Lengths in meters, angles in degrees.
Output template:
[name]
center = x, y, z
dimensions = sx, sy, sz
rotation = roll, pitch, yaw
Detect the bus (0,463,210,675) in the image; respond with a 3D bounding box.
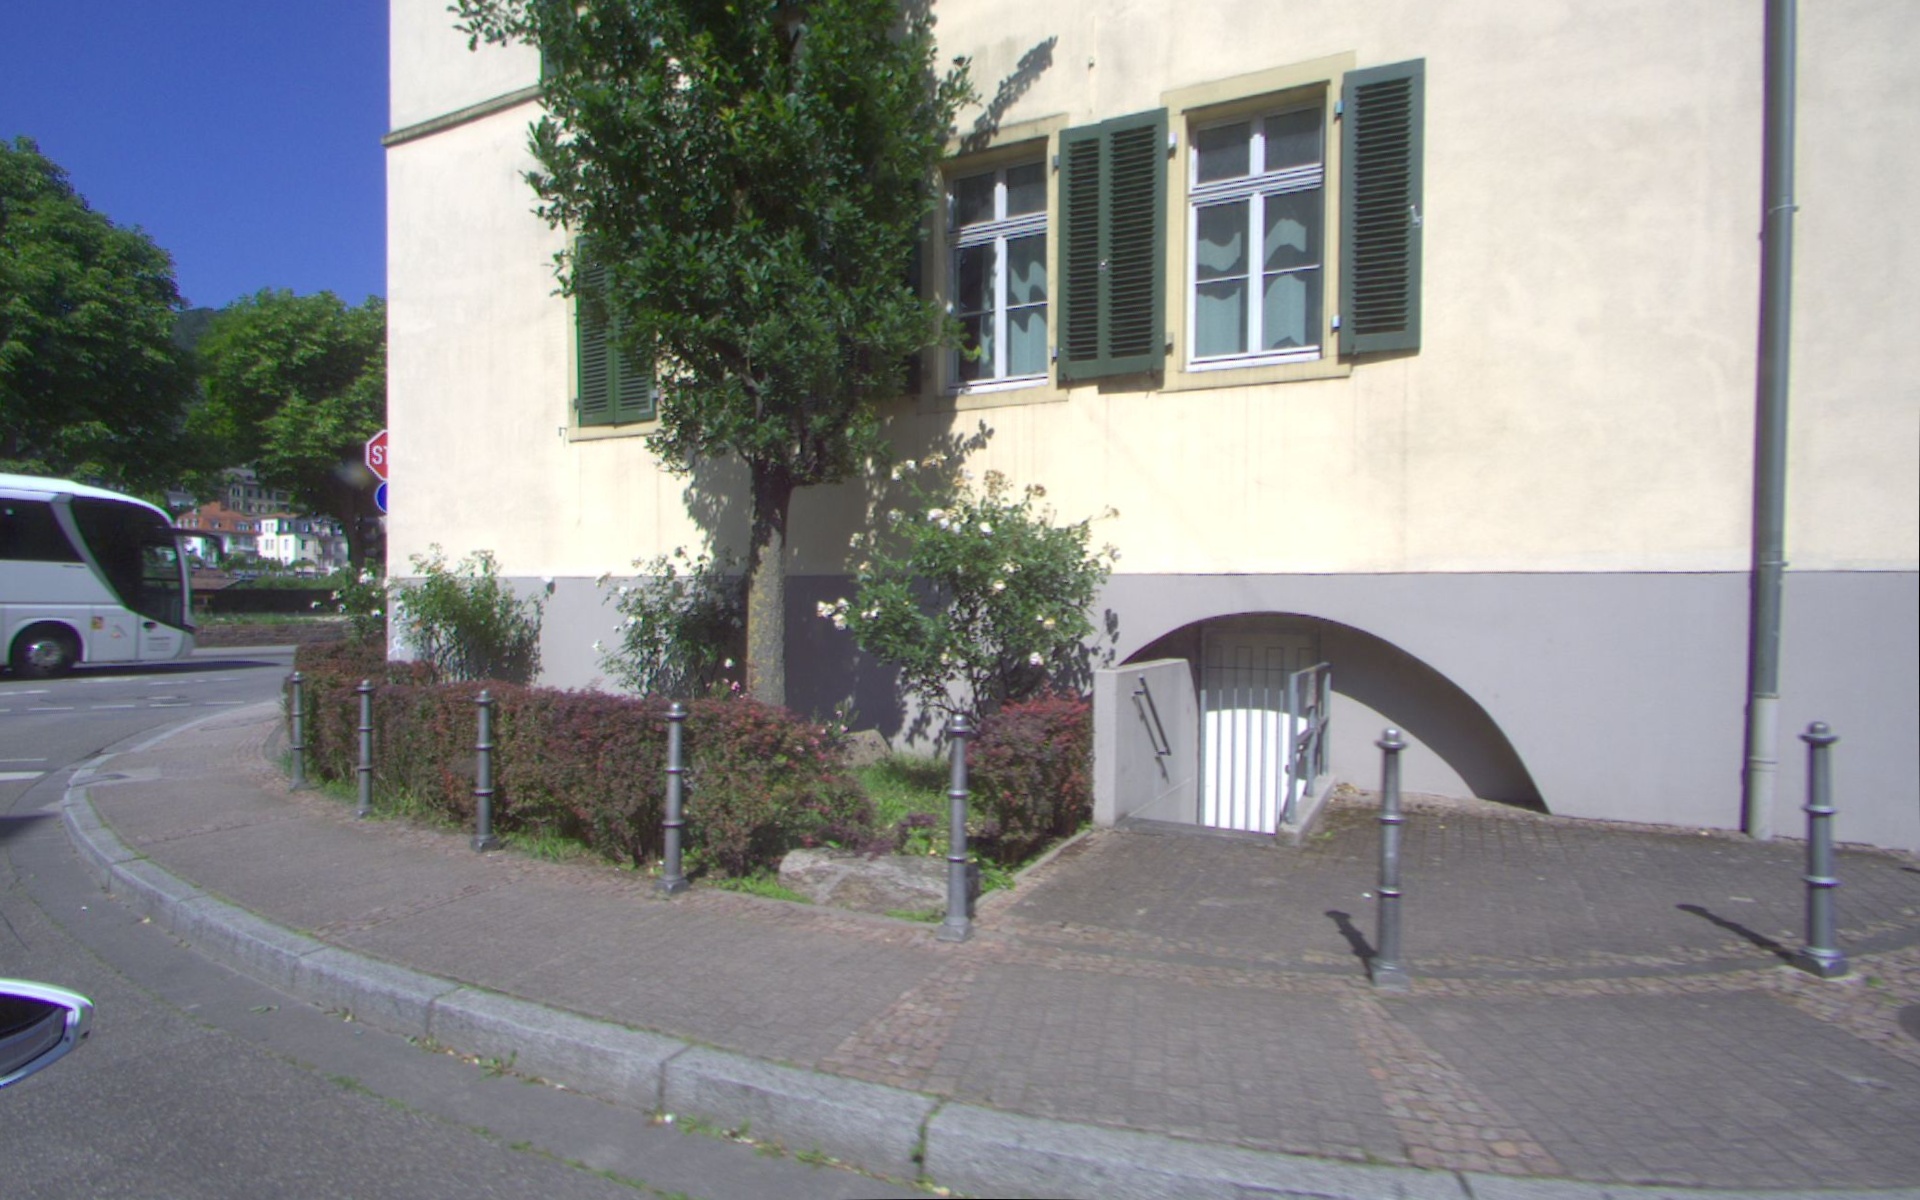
[bus]
center = -19.724, -0.602, 16.384
dimensions = 2.858, 3.837, 12.146
rotation = 0, -1, 23

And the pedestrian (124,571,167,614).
[pedestrian]
center = -24.763, -0.218, 30.453
dimensions = 0.704, 1.225, 0.797
rotation = -3, -3, 28

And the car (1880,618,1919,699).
[car]
center = 17.631, 1.025, 17.312
dimensions = 1.685, 1.414, 3.322
rotation = 0, -1, 27
